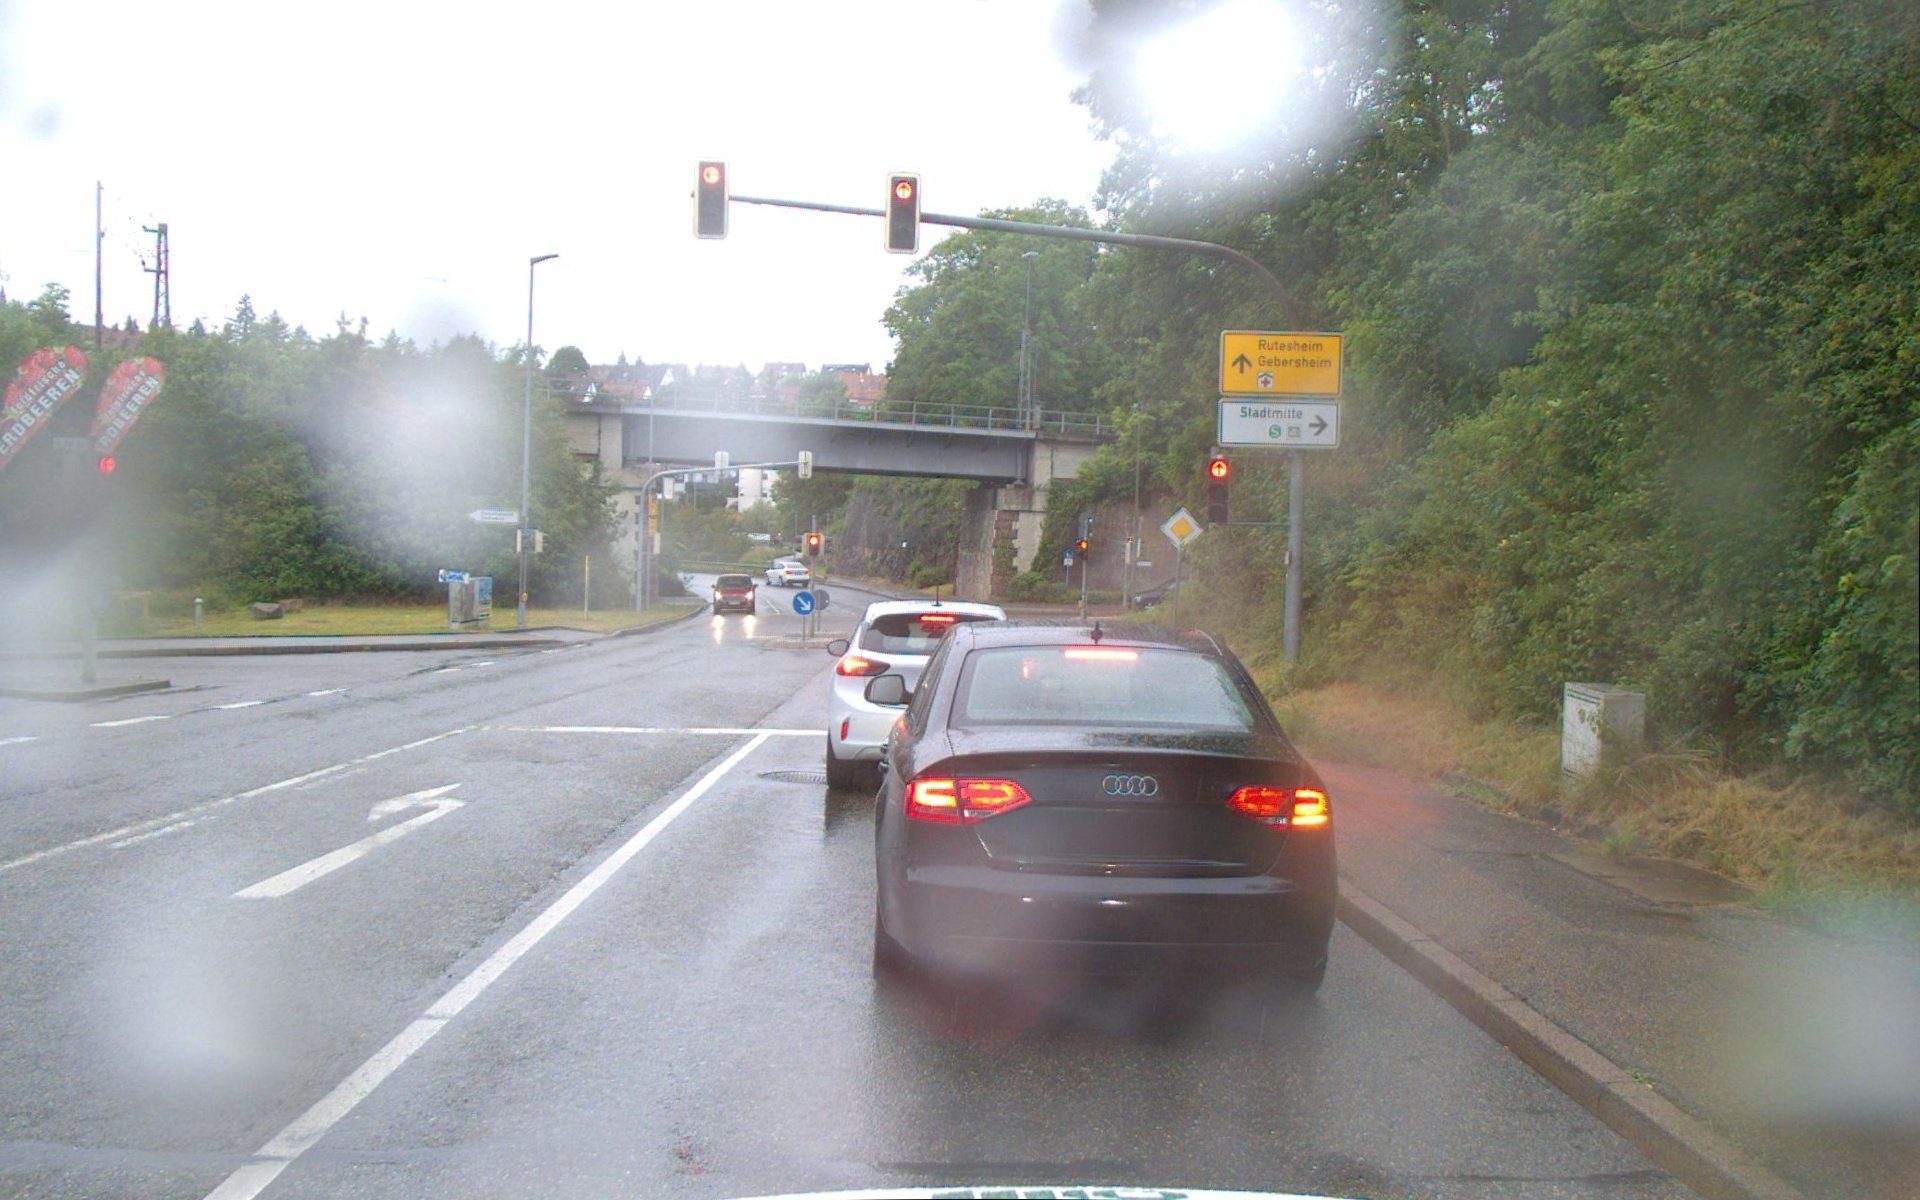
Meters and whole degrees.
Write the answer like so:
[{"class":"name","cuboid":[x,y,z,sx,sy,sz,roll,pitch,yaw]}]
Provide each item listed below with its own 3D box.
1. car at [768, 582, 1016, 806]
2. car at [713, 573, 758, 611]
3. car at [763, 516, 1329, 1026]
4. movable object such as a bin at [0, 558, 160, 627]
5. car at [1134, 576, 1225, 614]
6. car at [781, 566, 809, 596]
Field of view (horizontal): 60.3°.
[{"class":"car","cuboid":[-0.525,0.713,14.031,1.786,1.613,3.999,1,-1,-1]},{"class":"car","cuboid":[-10.144,-0.352,74.733,1.956,1.657,3.993,0,0,-8]},{"class":"car","cuboid":[0.255,0.590,7.397,1.832,1.645,3.999,1,-1,-1]},{"class":"movable object such as a bin","cuboid":[-23.712,-0.164,41.739,2.699,1.656,5.752,0,-1,39]},{"class":"car","cuboid":[9.629,-0.231,72.367,3.902,1.624,2.002,0,0,9]},{"class":"car","cuboid":[-10.552,-1.198,105.607,1.770,1.773,4.474,1,-1,-6]}]
